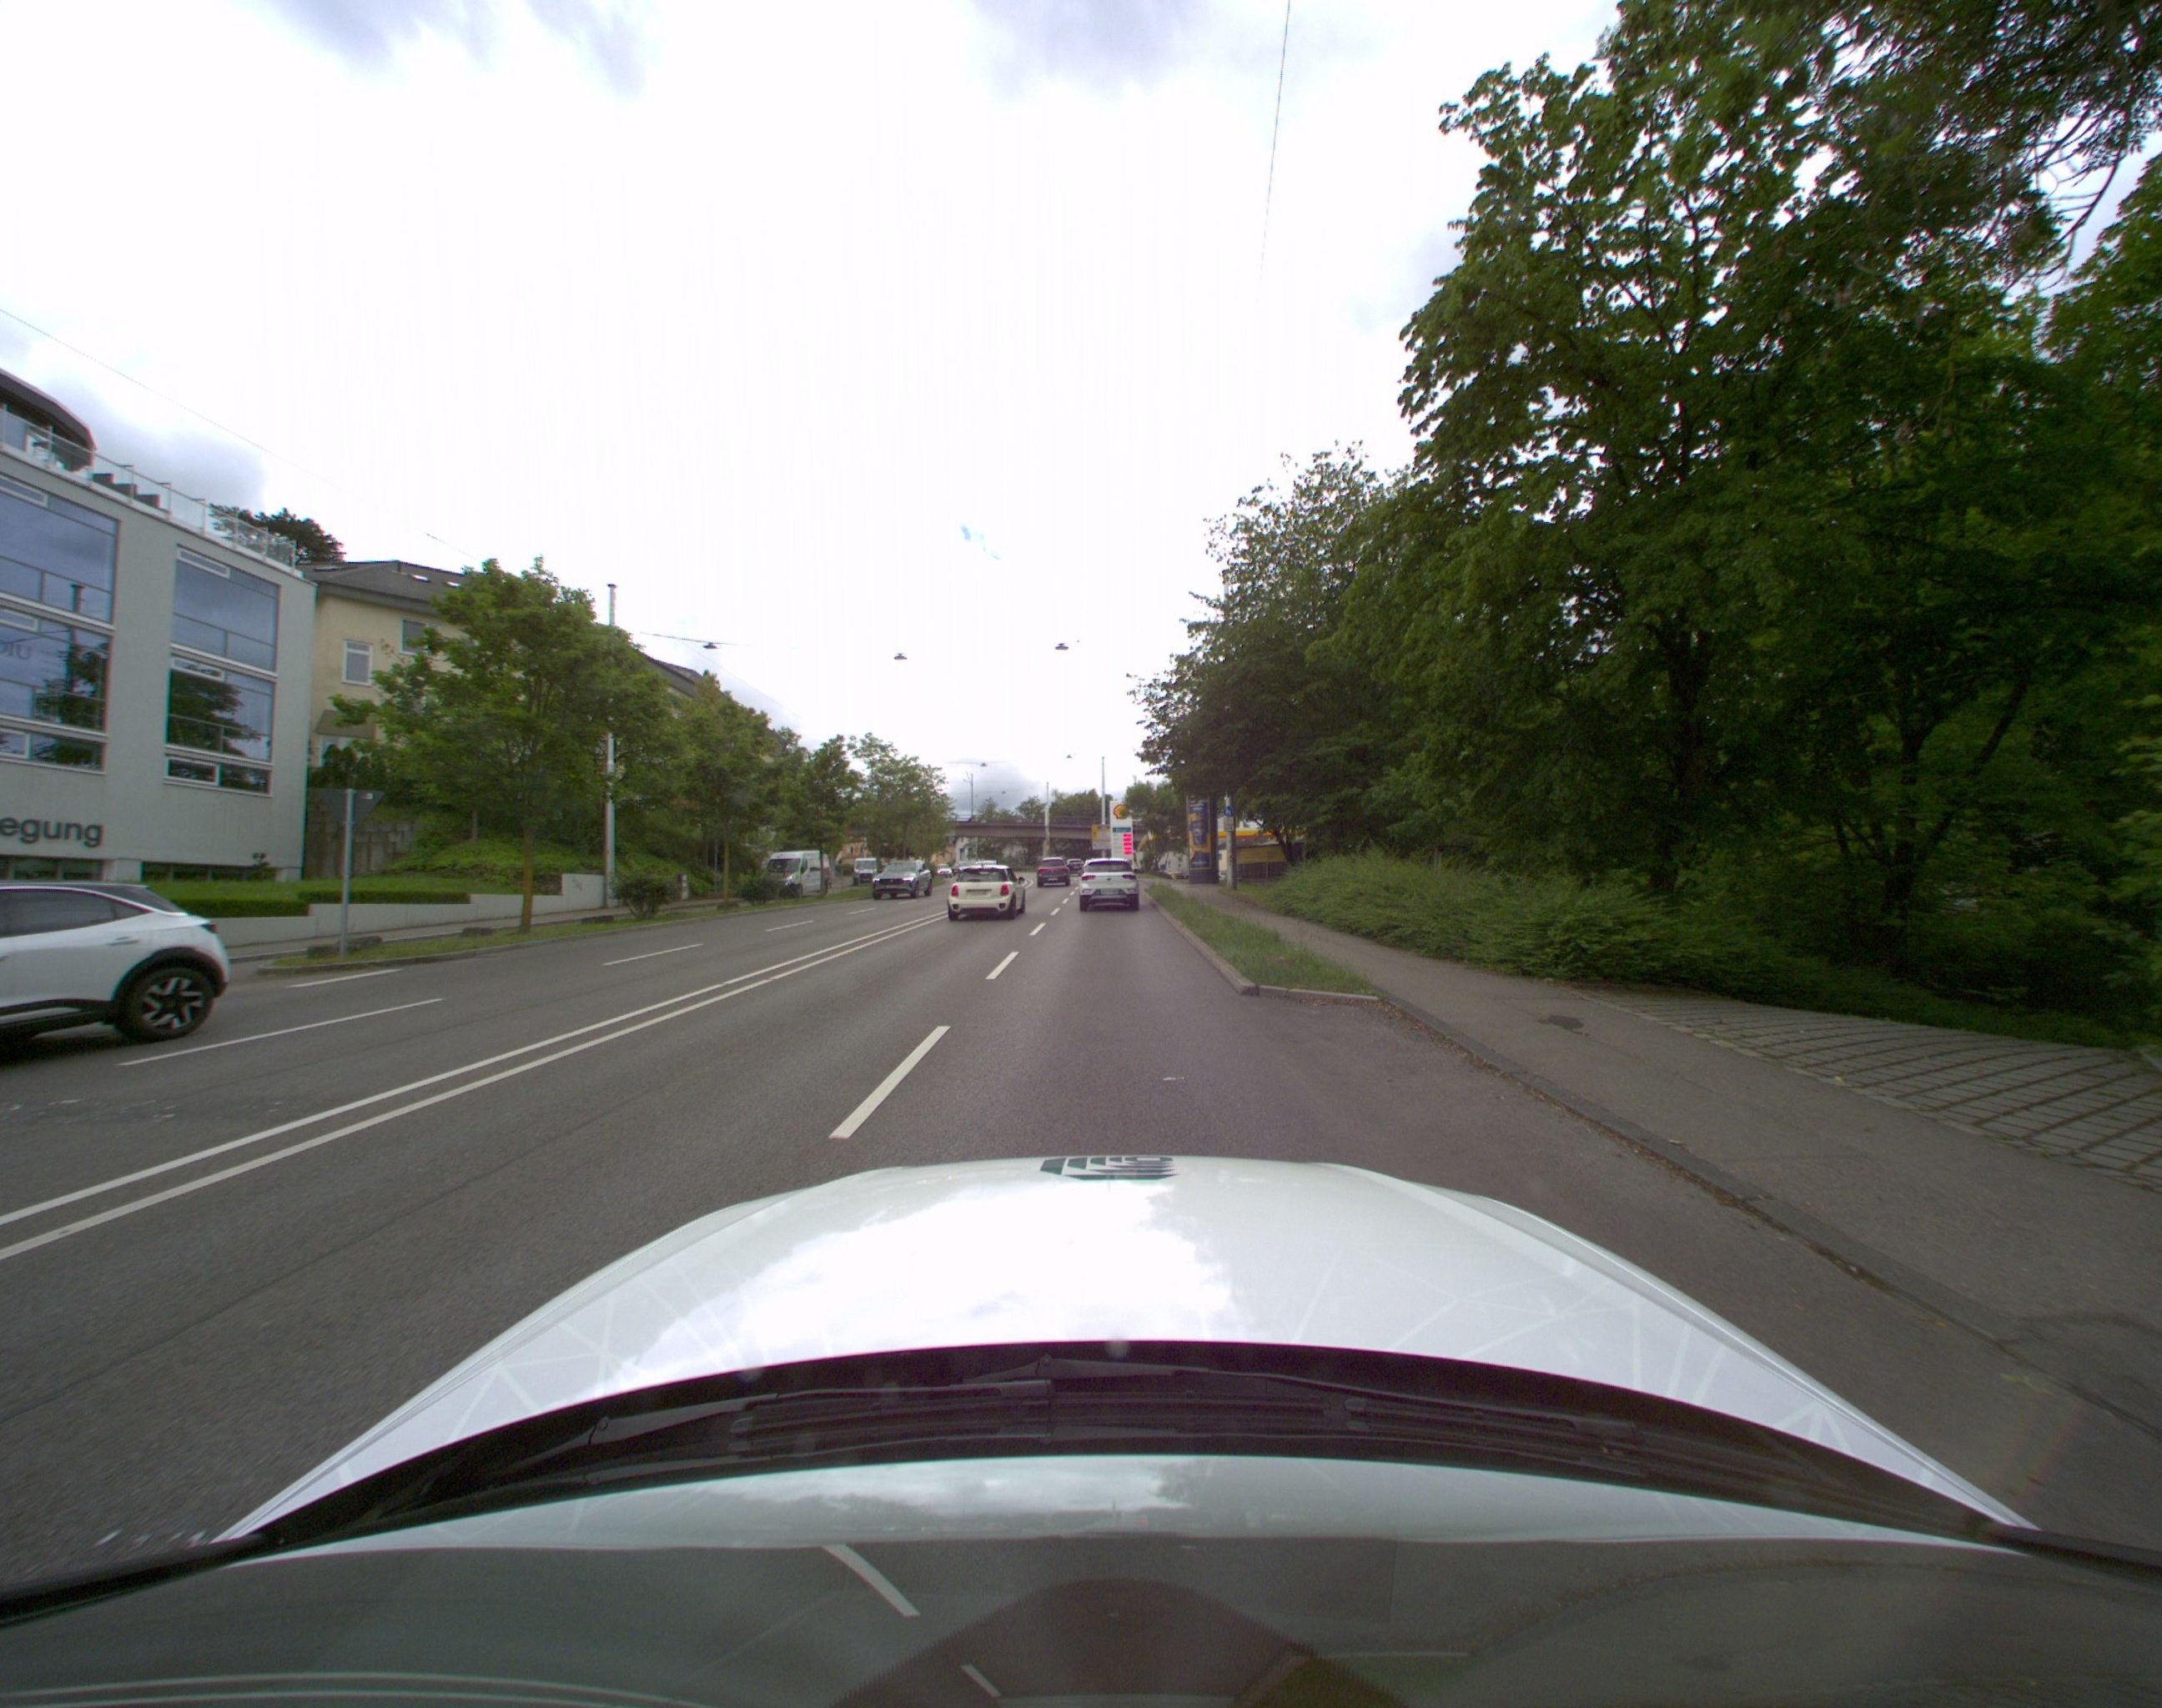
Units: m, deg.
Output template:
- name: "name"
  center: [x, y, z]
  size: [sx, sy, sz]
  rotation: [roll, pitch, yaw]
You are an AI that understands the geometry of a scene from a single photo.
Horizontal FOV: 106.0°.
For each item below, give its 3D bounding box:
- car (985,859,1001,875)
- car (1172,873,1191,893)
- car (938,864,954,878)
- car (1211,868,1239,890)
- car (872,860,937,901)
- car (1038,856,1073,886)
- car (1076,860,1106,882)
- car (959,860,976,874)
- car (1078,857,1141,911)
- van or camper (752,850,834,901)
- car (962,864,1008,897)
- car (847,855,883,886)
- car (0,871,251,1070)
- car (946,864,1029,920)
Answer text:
- name: "car"
  center: [-10.779, 1.560, 99.270]
  size: [1.896, 1.937, 3.990]
  rotation: [-1, 0, -7]
- name: "car"
  center: [11.152, 3.215, 90.453]
  size: [1.728, 2.011, 4.716]
  rotation: [-2, -4, 4]
- name: "car"
  center: [-14.611, 1.785, 88.295]
  size: [1.564, 1.431, 3.880]
  rotation: [-1, 0, -7]
- name: "car"
  center: [11.350, 1.985, 64.252]
  size: [1.728, 1.486, 3.880]
  rotation: [-2, -4, 4]
- name: "car"
  center: [-8.086, 1.158, 37.653]
  size: [1.757, 1.708, 4.872]
  rotation: [-1, 0, 2]
- name: "car"
  center: [-1.428, 0.940, 46.612]
  size: [1.716, 1.640, 3.458]
  rotation: [-1, -1, 2]
- name: "car"
  center: [0.653, 1.117, 54.107]
  size: [1.673, 1.409, 3.450]
  rotation: [-1, -1, -5]
- name: "car"
  center: [-13.232, 1.523, 94.918]
  size: [1.785, 1.538, 4.062]
  rotation: [-2, 0, -9]
- name: "car"
  center: [0.875, 0.878, 24.973]
  size: [1.790, 1.519, 3.458]
  rotation: [-1, -1, 2]
- name: "van or camper"
  center: [-15.175, 1.107, 43.299]
  size: [1.985, 2.473, 5.714]
  rotation: [-2, -1, 3]
- name: "car"
  center: [-5.093, 1.372, 43.696]
  size: [1.757, 1.592, 4.368]
  rotation: [-1, 0, 2]
- name: "car"
  center: [-17.231, 1.285, 65.366]
  size: [2.268, 2.273, 6.303]
  rotation: [-2, -1, -11]
- name: "car"
  center: [-9.441, 0.952, 6.325]
  size: [1.792, 1.542, 3.926]
  rotation: [-1, 0, 4]
- name: "car"
  center: [-2.460, 0.969, 22.144]
  size: [1.716, 1.376, 3.458]
  rotation: [-1, -1, 2]
